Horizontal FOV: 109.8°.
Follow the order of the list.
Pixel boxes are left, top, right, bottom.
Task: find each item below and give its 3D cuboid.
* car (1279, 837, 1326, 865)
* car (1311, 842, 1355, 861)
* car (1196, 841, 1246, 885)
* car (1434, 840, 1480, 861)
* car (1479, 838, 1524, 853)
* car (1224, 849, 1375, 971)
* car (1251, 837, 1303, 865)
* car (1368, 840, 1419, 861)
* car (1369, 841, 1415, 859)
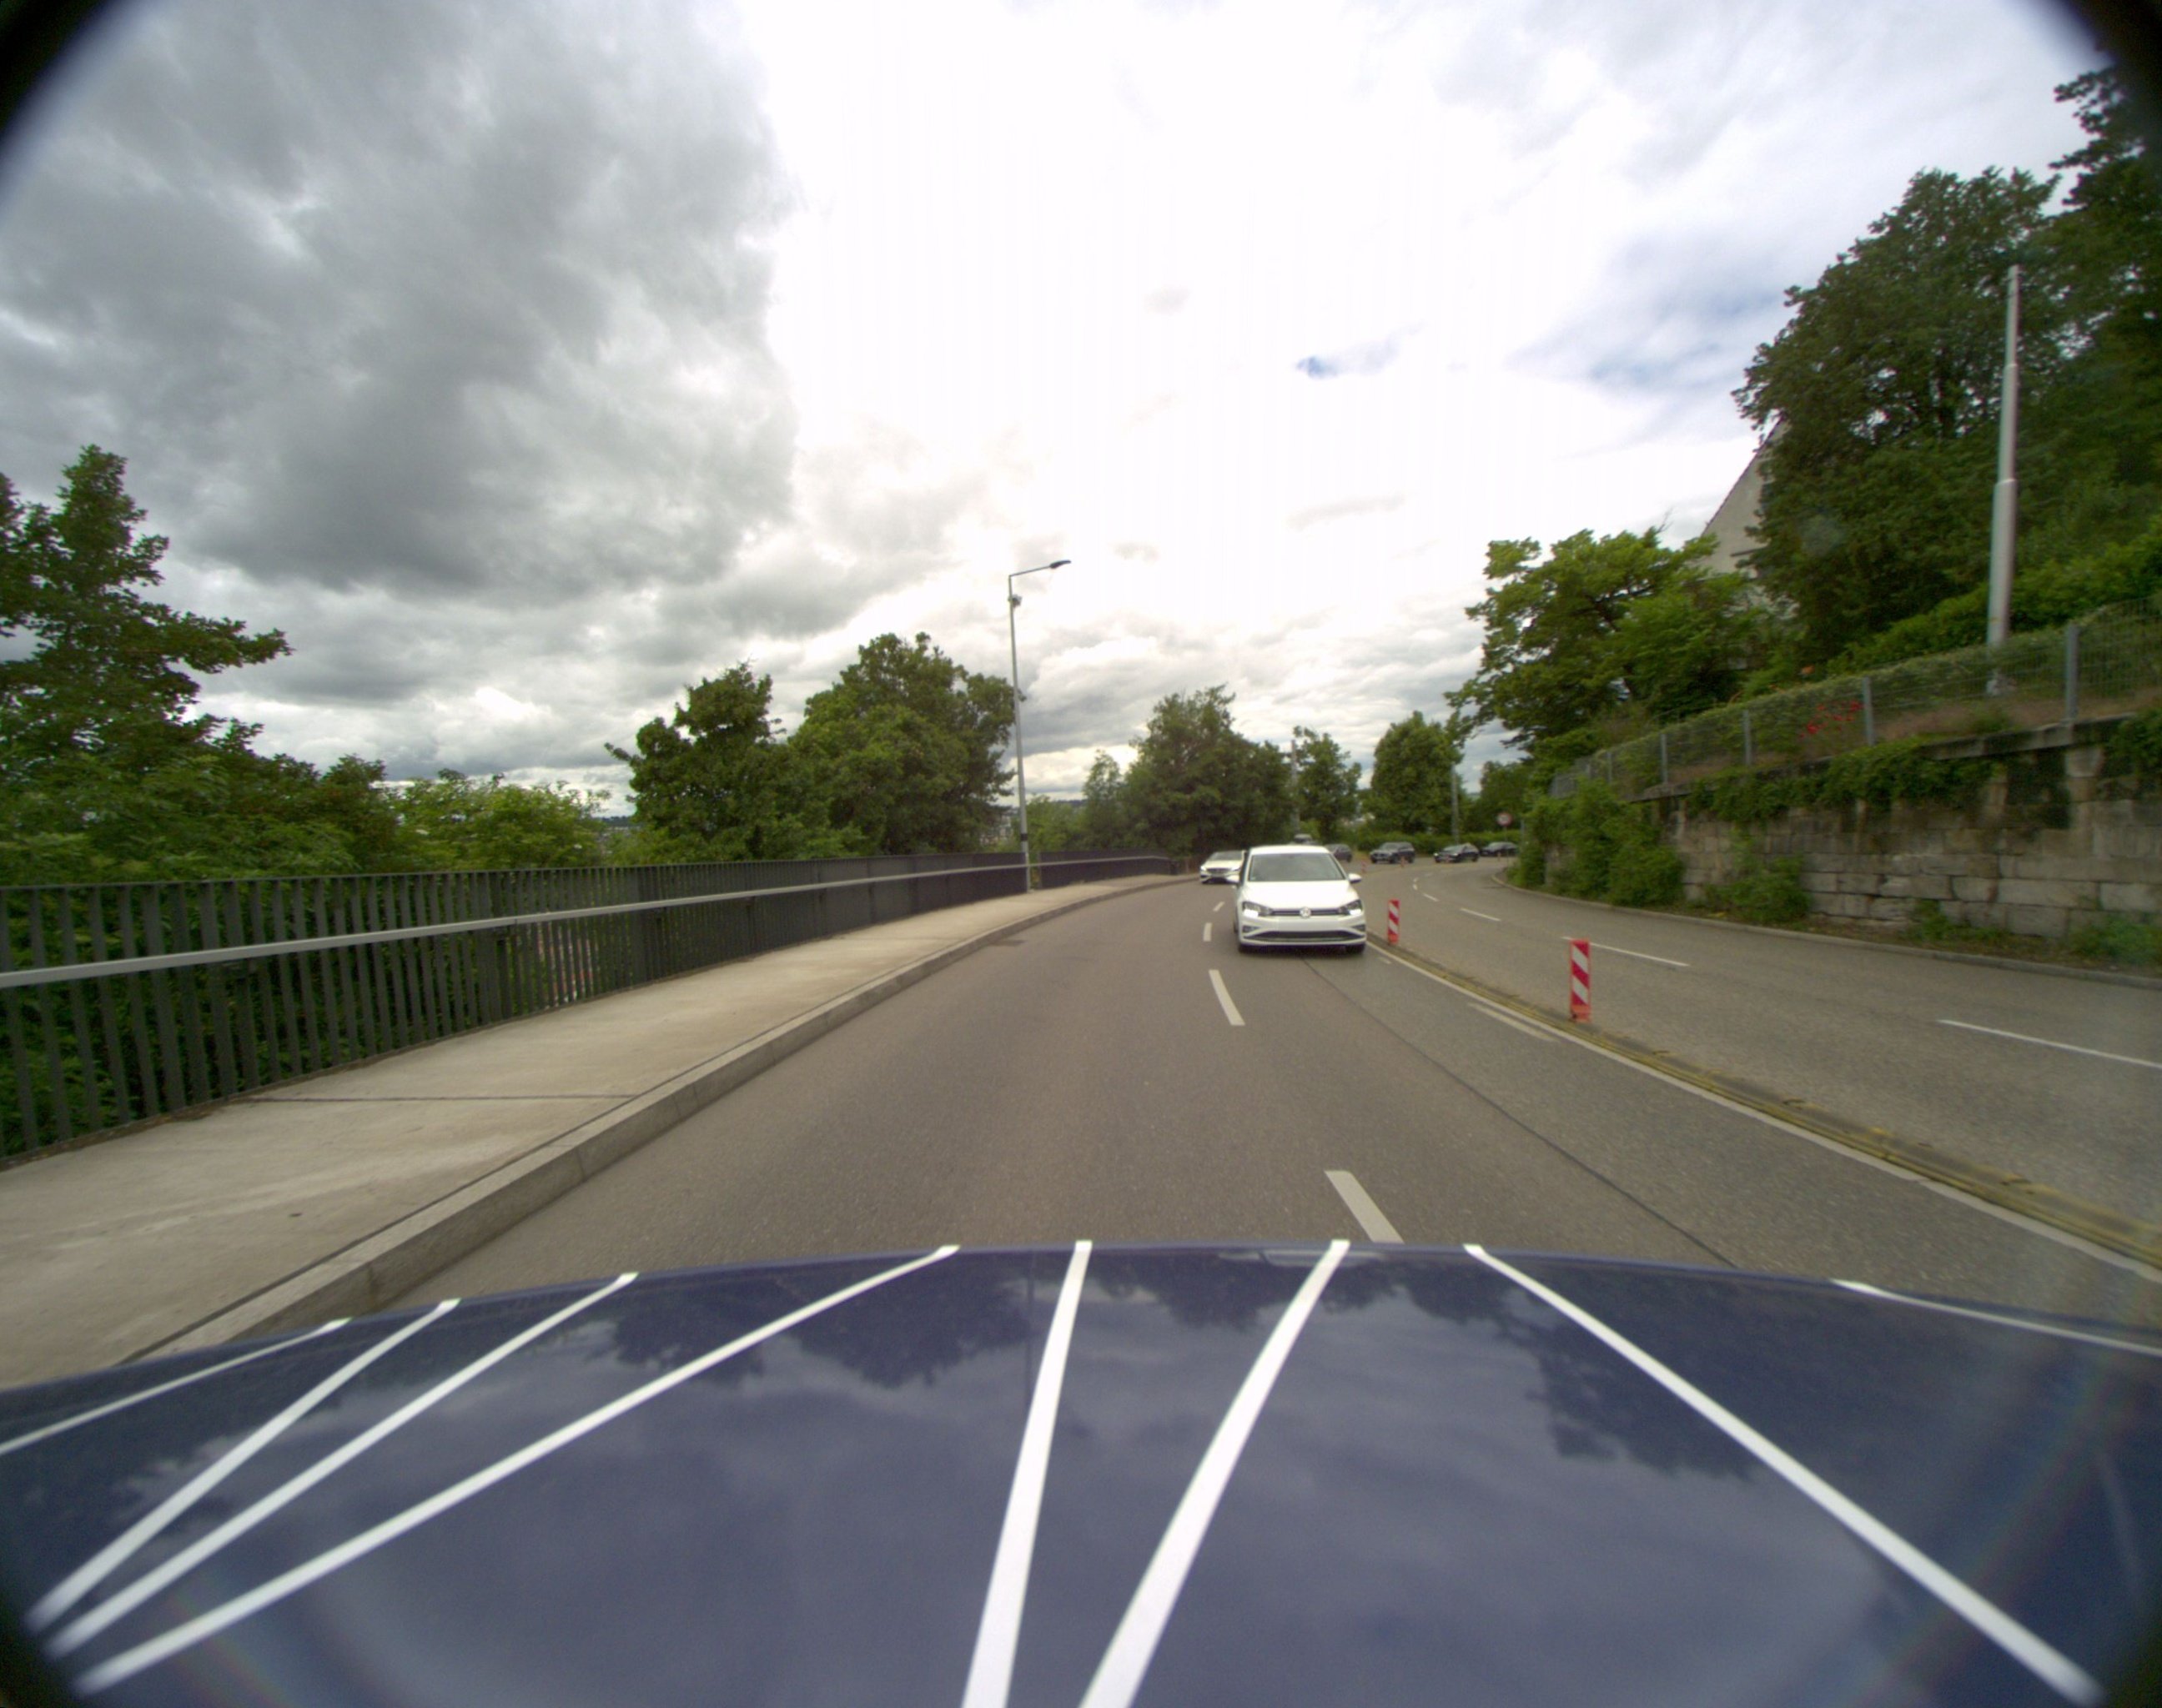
[{"bbox_3d":[15.596,-0.262,53.423,1.694,1.822,4.412,3,3,36],"label":"car"},{"bbox_3d":[19.354,-0.209,58.160,1.929,1.425,4.008,0,1,39],"label":"car"},{"bbox_3d":[6.186,0.333,33.305,1.996,1.709,4.002,0,2,12],"label":"car"},{"bbox_3d":[29.804,-0.297,60.174,4.148,1.485,1.920,-4,3,-43],"label":"car"},{"bbox_3d":[41.249,-0.835,74.543,4.104,1.425,1.930,-1,1,-27],"label":"car"},{"bbox_3d":[3.301,0.724,12.273,1.824,1.571,4.358,0,1,9],"label":"car"},{"bbox_3d":[12.865,-0.212,49.738,1.692,1.514,3.925,11,7,36],"label":"car"},{"bbox_3d":[24.057,-0.288,58.389,4.149,1.485,1.897,-3,2,-40],"label":"car"},{"bbox_3d":[27.086,-0.376,66.116,4.007,1.425,1.929,-1,2,-37],"label":"car"}]
